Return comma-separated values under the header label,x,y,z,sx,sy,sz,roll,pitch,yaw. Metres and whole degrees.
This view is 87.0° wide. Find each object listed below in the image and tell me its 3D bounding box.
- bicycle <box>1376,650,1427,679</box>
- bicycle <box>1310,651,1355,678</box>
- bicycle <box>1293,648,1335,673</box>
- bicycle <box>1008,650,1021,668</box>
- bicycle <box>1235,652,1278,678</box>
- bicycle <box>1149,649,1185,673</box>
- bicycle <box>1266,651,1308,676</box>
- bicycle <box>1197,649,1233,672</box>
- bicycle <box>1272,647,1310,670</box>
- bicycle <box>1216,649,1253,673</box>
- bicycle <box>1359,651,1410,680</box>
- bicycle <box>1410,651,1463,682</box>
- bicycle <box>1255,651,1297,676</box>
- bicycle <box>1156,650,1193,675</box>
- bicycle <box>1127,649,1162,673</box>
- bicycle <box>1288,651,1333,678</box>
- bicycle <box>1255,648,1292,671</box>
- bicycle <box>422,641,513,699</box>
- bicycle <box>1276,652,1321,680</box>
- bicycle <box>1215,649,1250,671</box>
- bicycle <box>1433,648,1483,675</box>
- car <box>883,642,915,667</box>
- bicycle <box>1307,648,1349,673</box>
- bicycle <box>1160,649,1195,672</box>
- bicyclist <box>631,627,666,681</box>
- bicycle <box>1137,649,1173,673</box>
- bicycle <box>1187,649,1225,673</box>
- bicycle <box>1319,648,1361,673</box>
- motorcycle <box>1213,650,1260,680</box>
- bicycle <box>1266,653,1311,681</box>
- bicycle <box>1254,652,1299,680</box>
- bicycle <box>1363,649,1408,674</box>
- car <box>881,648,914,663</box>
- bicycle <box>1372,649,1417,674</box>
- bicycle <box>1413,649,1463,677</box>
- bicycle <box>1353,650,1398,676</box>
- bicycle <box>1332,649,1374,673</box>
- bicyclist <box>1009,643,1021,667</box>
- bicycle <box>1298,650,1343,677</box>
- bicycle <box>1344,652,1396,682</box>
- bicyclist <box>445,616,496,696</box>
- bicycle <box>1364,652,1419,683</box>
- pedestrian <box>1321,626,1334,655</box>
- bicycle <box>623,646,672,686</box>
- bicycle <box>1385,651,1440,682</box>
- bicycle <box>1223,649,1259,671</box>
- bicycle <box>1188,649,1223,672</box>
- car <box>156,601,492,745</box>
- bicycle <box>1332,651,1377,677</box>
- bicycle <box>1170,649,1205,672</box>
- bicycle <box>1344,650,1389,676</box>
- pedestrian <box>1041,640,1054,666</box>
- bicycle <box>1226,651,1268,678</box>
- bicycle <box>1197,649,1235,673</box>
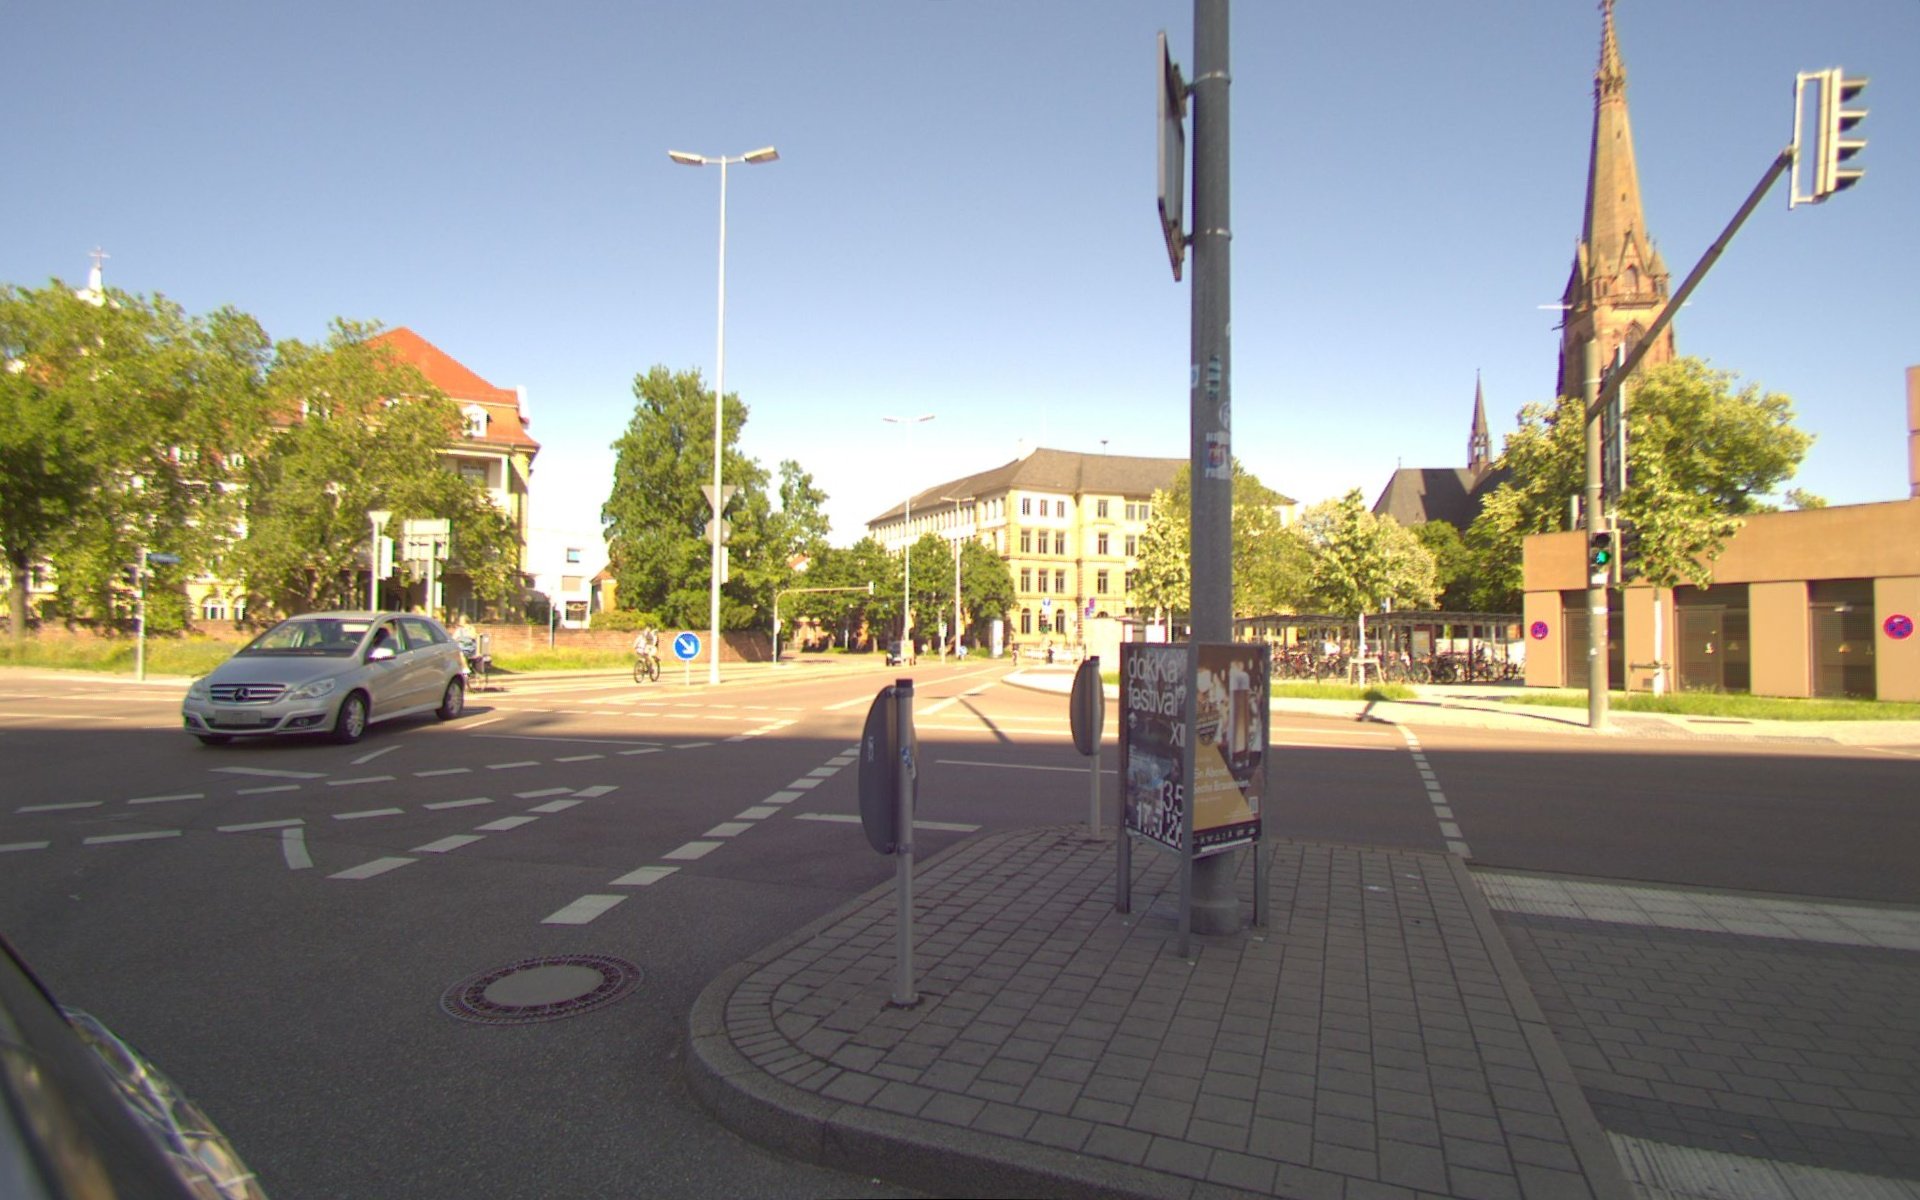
label,x,y,z,sx,sy,sz,roll,pitch,yaw
bicycle,16.974,2.472,38.946,0.558,1.046,1.793,3,-3,-31
bicycle,15.380,2.658,41.873,0.558,1.046,1.793,3,-3,-31
bicycle,15.592,2.649,44.585,0.558,1.046,1.793,3,-3,-31
bicycle,3.711,3.962,68.342,0.739,1.174,1.866,1,-3,6
bicycle,12.463,2.714,42.583,0.558,1.046,1.793,3,-3,-31
bicycle,9.761,2.865,47.766,0.558,1.046,1.793,3,-3,-31
bicycle,14.076,2.724,43.642,0.558,1.046,1.793,3,-3,-31
bicycle,12.451,2.943,49.436,0.558,1.046,1.793,3,-3,-31
bicycle,16.015,2.837,49.027,0.558,1.046,1.793,3,-3,-31
bicycle,12.765,2.822,47.119,0.558,1.046,1.793,3,-3,-31
bicycle,16.119,2.481,38.462,0.558,1.046,1.793,3,-3,-31
bicycle,17.013,2.352,36.150,0.558,1.046,1.794,2,-3,-23
bicycle,13.497,2.712,43.317,0.558,1.046,1.793,3,-3,-31
bicycle,9.583,2.780,45.299,0.558,1.046,1.793,3,-3,-31
bicycle,8.572,2.838,47.055,0.558,1.046,1.793,3,-3,-31
bicycle,14.248,2.630,41.224,0.558,1.046,1.793,3,-3,-31
bicycle,14.979,2.832,48.351,0.558,1.046,1.793,3,-3,-31
bicycle,-10.451,1.474,21.549,0.637,1.174,1.958,-2,-3,14
bicycle,13.634,2.661,40.822,0.558,1.046,1.793,3,-3,-31
bicycle,13.460,2.943,50.048,0.558,1.046,1.793,3,-3,-31
bicycle,20.068,2.471,40.835,0.558,1.046,1.793,3,-3,-31
car,-3.960,3.564,66.113,1.971,1.484,4.299,-2,-3,-2
bicycle,16.355,2.680,44.982,0.558,1.046,1.793,3,-3,-31
bicycle,10.344,2.874,48.112,0.558,1.046,1.793,3,-3,-31
bicyclist,-9.685,1.675,31.480,0.776,1.675,0.775,-1,-2,7
bicycle,9.124,2.848,47.382,0.558,1.046,1.793,3,-3,-31
bicycle,11.226,2.794,46.207,0.558,1.046,1.793,3,-3,-31
bicycle,17.009,2.703,45.287,0.558,1.046,1.793,3,-3,-31
motorcycle,10.866,2.555,39.882,0.584,1.128,1.991,1,-3,-27
bicycle,13.127,2.665,40.512,0.558,1.046,1.793,3,-3,-31
bicycle,12.562,2.625,40.185,0.558,1.046,1.793,3,-3,-31
bicycle,18.304,2.643,43.570,0.558,1.046,1.793,3,-3,-31
car,-8.067,7.125,130.243,3.741,1.830,2.003,2,-4,-40
bicycle,18.842,2.650,43.895,0.558,1.046,1.793,3,-3,-31
bicycle,18.907,2.470,40.068,0.558,1.046,1.793,3,-3,-31
bicycle,17.762,2.691,43.256,0.558,1.046,1.793,3,-3,-31
bicycle,17.689,2.734,45.622,0.558,1.046,1.793,3,-3,-31
bicyclist,3.727,3.722,68.468,0.713,1.633,0.975,1,-3,7
bicycle,14.786,2.603,41.547,0.558,1.046,1.793,3,-3,-31
bicycle,15.203,2.461,37.551,0.558,1.046,1.793,3,-3,-31
bicyclist,-10.437,1.184,21.605,0.637,1.675,0.773,-1,-2,15
bicycle,15.051,2.348,35.360,0.558,1.046,1.793,3,-3,-31
pedestrian,22.989,2.524,63.293,0.538,1.736,0.673,-4,-9,36
bicycle,-9.689,2.032,31.454,0.769,1.174,1.964,-1,-3,6
bicycle,15.943,2.339,35.683,0.558,1.046,1.793,3,-3,-31
bicycle,13.969,2.963,50.333,0.558,1.046,1.793,3,-3,-31
bicycle,11.896,2.933,49.088,0.558,1.046,1.793,3,-3,-31
car,-8.241,0.933,13.731,1.746,1.606,4.639,-1,-3,-2
bicycle,16.599,2.683,42.578,0.558,1.046,1.793,3,-3,-31
bicycle,10.870,2.893,48.442,0.558,1.046,1.793,3,-3,-31
bicycle,17.243,2.681,42.967,0.558,1.046,1.793,3,-3,-31
pedestrian,5.767,3.506,66.783,0.781,1.694,0.646,-3,-3,8
bicycle,11.986,2.683,42.263,0.558,1.046,1.793,3,-3,-31
bicycle,11.744,2.808,46.494,0.558,1.046,1.793,3,-3,-31
